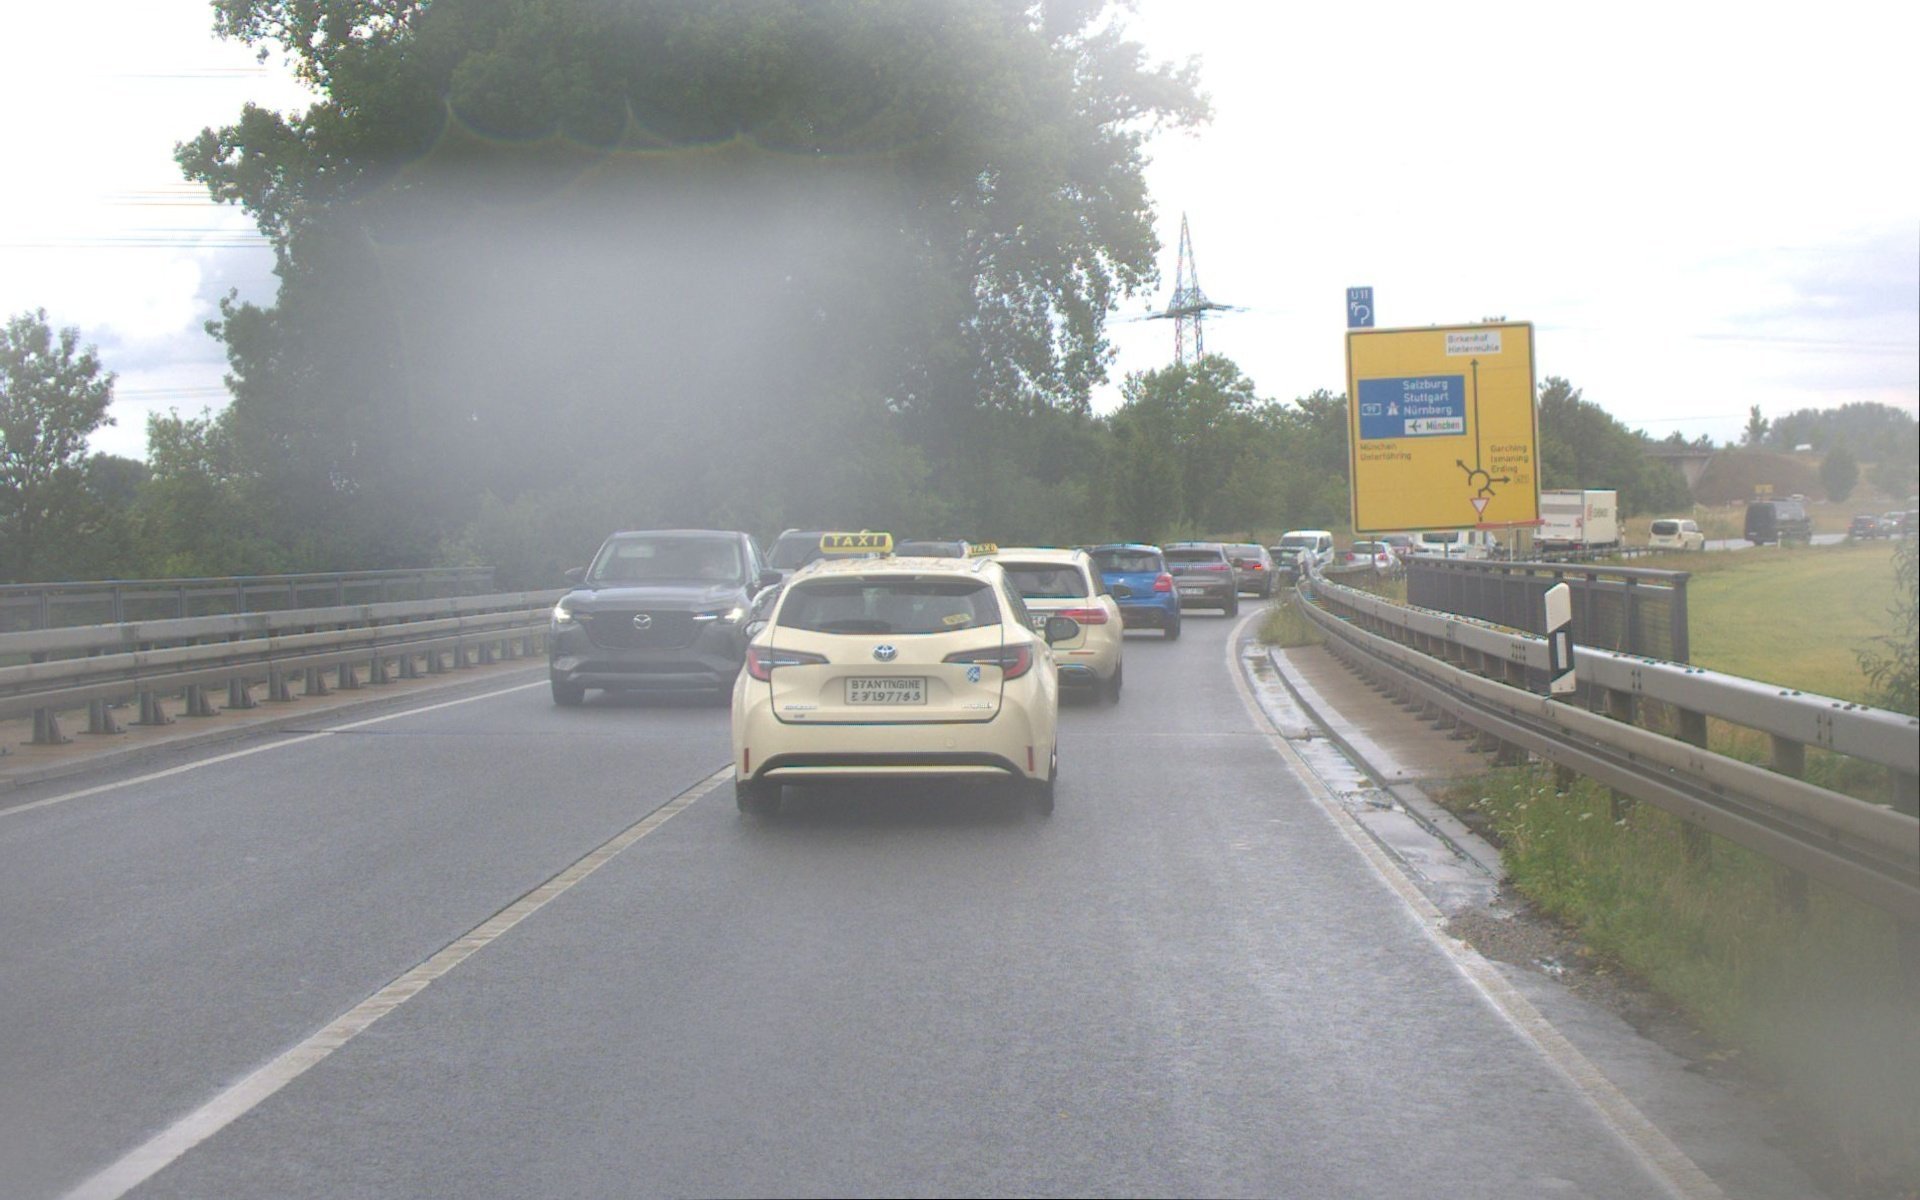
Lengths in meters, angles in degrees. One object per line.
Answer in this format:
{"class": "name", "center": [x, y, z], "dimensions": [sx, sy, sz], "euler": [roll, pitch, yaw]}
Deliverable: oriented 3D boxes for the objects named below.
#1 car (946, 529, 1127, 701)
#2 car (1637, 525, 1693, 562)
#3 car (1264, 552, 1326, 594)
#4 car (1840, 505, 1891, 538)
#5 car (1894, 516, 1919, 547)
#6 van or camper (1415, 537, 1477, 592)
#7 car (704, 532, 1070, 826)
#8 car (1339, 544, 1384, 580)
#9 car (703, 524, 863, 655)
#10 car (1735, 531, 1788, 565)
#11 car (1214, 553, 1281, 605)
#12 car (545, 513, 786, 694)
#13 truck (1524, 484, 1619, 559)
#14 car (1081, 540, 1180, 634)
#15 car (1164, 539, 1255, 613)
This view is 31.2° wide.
{"class": "car", "center": [0.789, 0.113, 33.319], "dimensions": [1.578, 1.567, 3.681], "euler": [0, 1, 4]}
{"class": "car", "center": [38.792, -3.089, 189.149], "dimensions": [2.169, 2.007, 3.995], "euler": [1, 0, 24]}
{"class": "car", "center": [10.620, -0.862, 108.851], "dimensions": [1.483, 1.304, 3.475], "euler": [0, 1, 13]}
{"class": "car", "center": [57.753, -4.981, 219.297], "dimensions": [2.229, 2.007, 3.994], "euler": [1, 0, 29]}
{"class": "car", "center": [63.355, -4.546, 227.813], "dimensions": [1.997, 2.007, 3.994], "euler": [1, 0, 29]}
{"class": "van or camper", "center": [20.214, -1.448, 142.809], "dimensions": [1.995, 2.246, 3.997], "euler": [0, 0, 16]}
{"class": "car", "center": [-0.317, 0.388, 20.054], "dimensions": [1.906, 1.532, 4.161], "euler": [0, 1, 2]}
{"class": "car", "center": [14.734, -1.405, 126.028], "dimensions": [1.483, 1.304, 3.475], "euler": [0, 1, 9]}
{"class": "car", "center": [-2.430, -0.188, 48.115], "dimensions": [1.841, 1.694, 4.389], "euler": [1, 2, 2]}
{"class": "car", "center": [47.688, -3.089, 204.471], "dimensions": [1.997, 2.007, 3.993], "euler": [1, 0, 30]}
{"class": "car", "center": [7.934, -0.561, 94.652], "dimensions": [1.661, 1.404, 3.903], "euler": [0, 0, 8]}
{"class": "car", "center": [-2.809, -0.025, 33.716], "dimensions": [1.746, 1.648, 4.524], "euler": [0, 1, 3]}
{"class": "truck", "center": [30.176, -3.825, 169.527], "dimensions": [3.143, 3.550, 7.513], "euler": [0, 0, 22]}
{"class": "car", "center": [2.709, -0.215, 54.504], "dimensions": [1.506, 1.432, 3.355], "euler": [0, 1, 3]}
{"class": "car", "center": [5.088, -0.497, 69.790], "dimensions": [1.665, 1.459, 3.476], "euler": [0, 1, 7]}
